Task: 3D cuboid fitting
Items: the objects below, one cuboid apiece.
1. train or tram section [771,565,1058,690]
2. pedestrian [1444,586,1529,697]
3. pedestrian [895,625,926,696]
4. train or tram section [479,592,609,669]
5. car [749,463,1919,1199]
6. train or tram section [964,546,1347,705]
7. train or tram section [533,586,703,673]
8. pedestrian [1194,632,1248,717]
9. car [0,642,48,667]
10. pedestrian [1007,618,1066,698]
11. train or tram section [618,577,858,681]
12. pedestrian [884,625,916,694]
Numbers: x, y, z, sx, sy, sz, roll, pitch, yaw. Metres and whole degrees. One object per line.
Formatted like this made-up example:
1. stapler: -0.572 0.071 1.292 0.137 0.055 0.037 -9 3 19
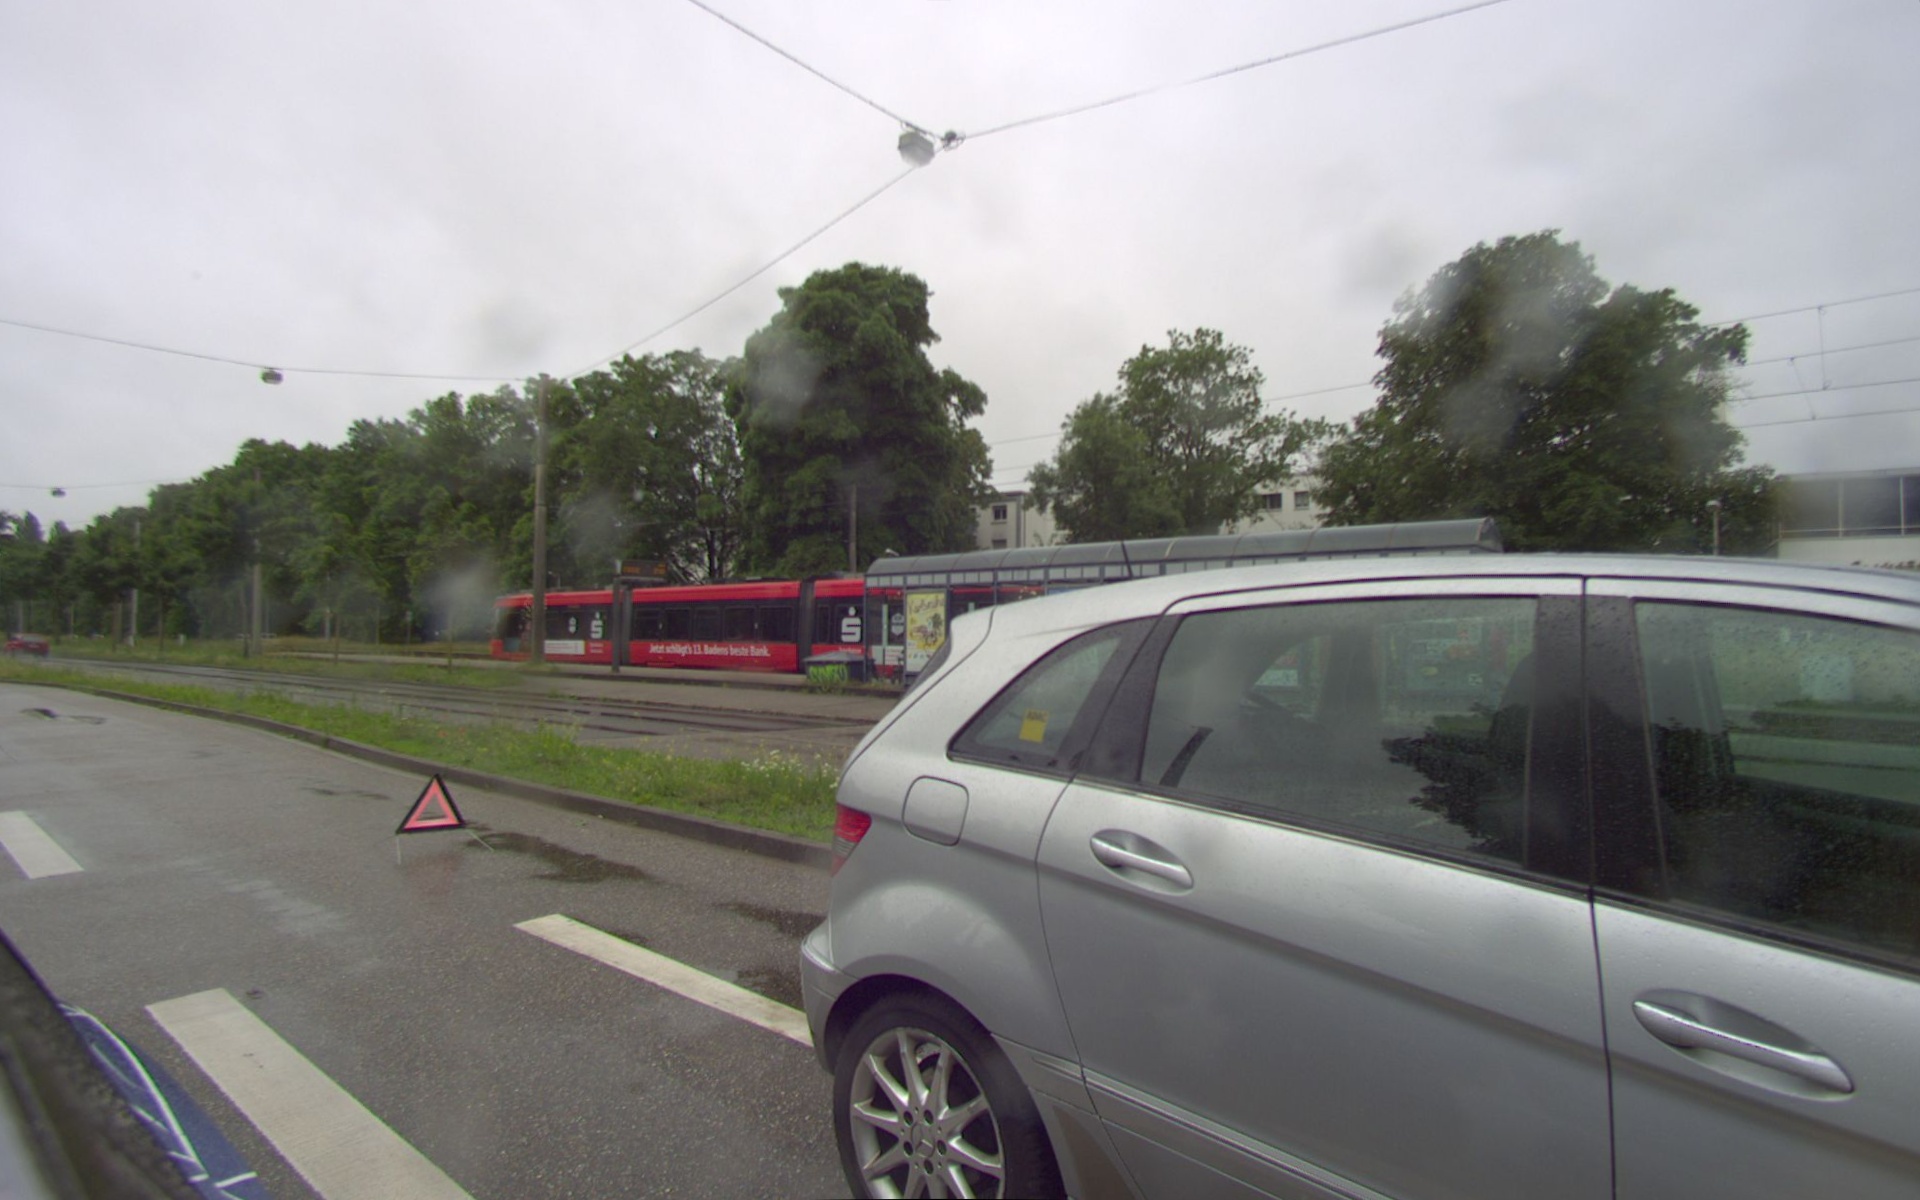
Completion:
1. train or tram section: -1.683 0.895 31.932 9.275 3.416 3.495 -2 -3 42
2. pedestrian: 8.345 0.639 16.046 0.996 1.688 0.914 -1 -1 42
3. pedestrian: -1.134 1.356 23.054 0.437 1.574 0.603 0 -1 -35
4. train or tram section: -19.803 1.462 48.111 5.767 3.444 3.495 -2 -3 42
5. car: 1.546 0.635 1.860 4.010 1.556 1.718 -2 -2 41
6. train or tram section: 4.724 0.699 26.220 9.275 3.416 3.495 -2 -3 42
7. train or tram section: -14.879 1.302 43.719 7.900 3.438 3.495 -2 -3 42
8. pedestrian: 4.634 1.310 17.973 0.699 1.464 0.618 -2 -3 43
9. car: -55.573 3.202 59.940 4.247 1.371 1.663 -2 -5 39
10. pedestrian: 1.576 1.191 20.940 0.929 1.609 0.795 -2 -3 44
11. train or tram section: -8.601 1.108 38.105 10.257 3.427 3.495 -2 -3 42
12. pedestrian: -1.411 1.377 23.763 0.514 1.574 0.603 0 -1 -35
